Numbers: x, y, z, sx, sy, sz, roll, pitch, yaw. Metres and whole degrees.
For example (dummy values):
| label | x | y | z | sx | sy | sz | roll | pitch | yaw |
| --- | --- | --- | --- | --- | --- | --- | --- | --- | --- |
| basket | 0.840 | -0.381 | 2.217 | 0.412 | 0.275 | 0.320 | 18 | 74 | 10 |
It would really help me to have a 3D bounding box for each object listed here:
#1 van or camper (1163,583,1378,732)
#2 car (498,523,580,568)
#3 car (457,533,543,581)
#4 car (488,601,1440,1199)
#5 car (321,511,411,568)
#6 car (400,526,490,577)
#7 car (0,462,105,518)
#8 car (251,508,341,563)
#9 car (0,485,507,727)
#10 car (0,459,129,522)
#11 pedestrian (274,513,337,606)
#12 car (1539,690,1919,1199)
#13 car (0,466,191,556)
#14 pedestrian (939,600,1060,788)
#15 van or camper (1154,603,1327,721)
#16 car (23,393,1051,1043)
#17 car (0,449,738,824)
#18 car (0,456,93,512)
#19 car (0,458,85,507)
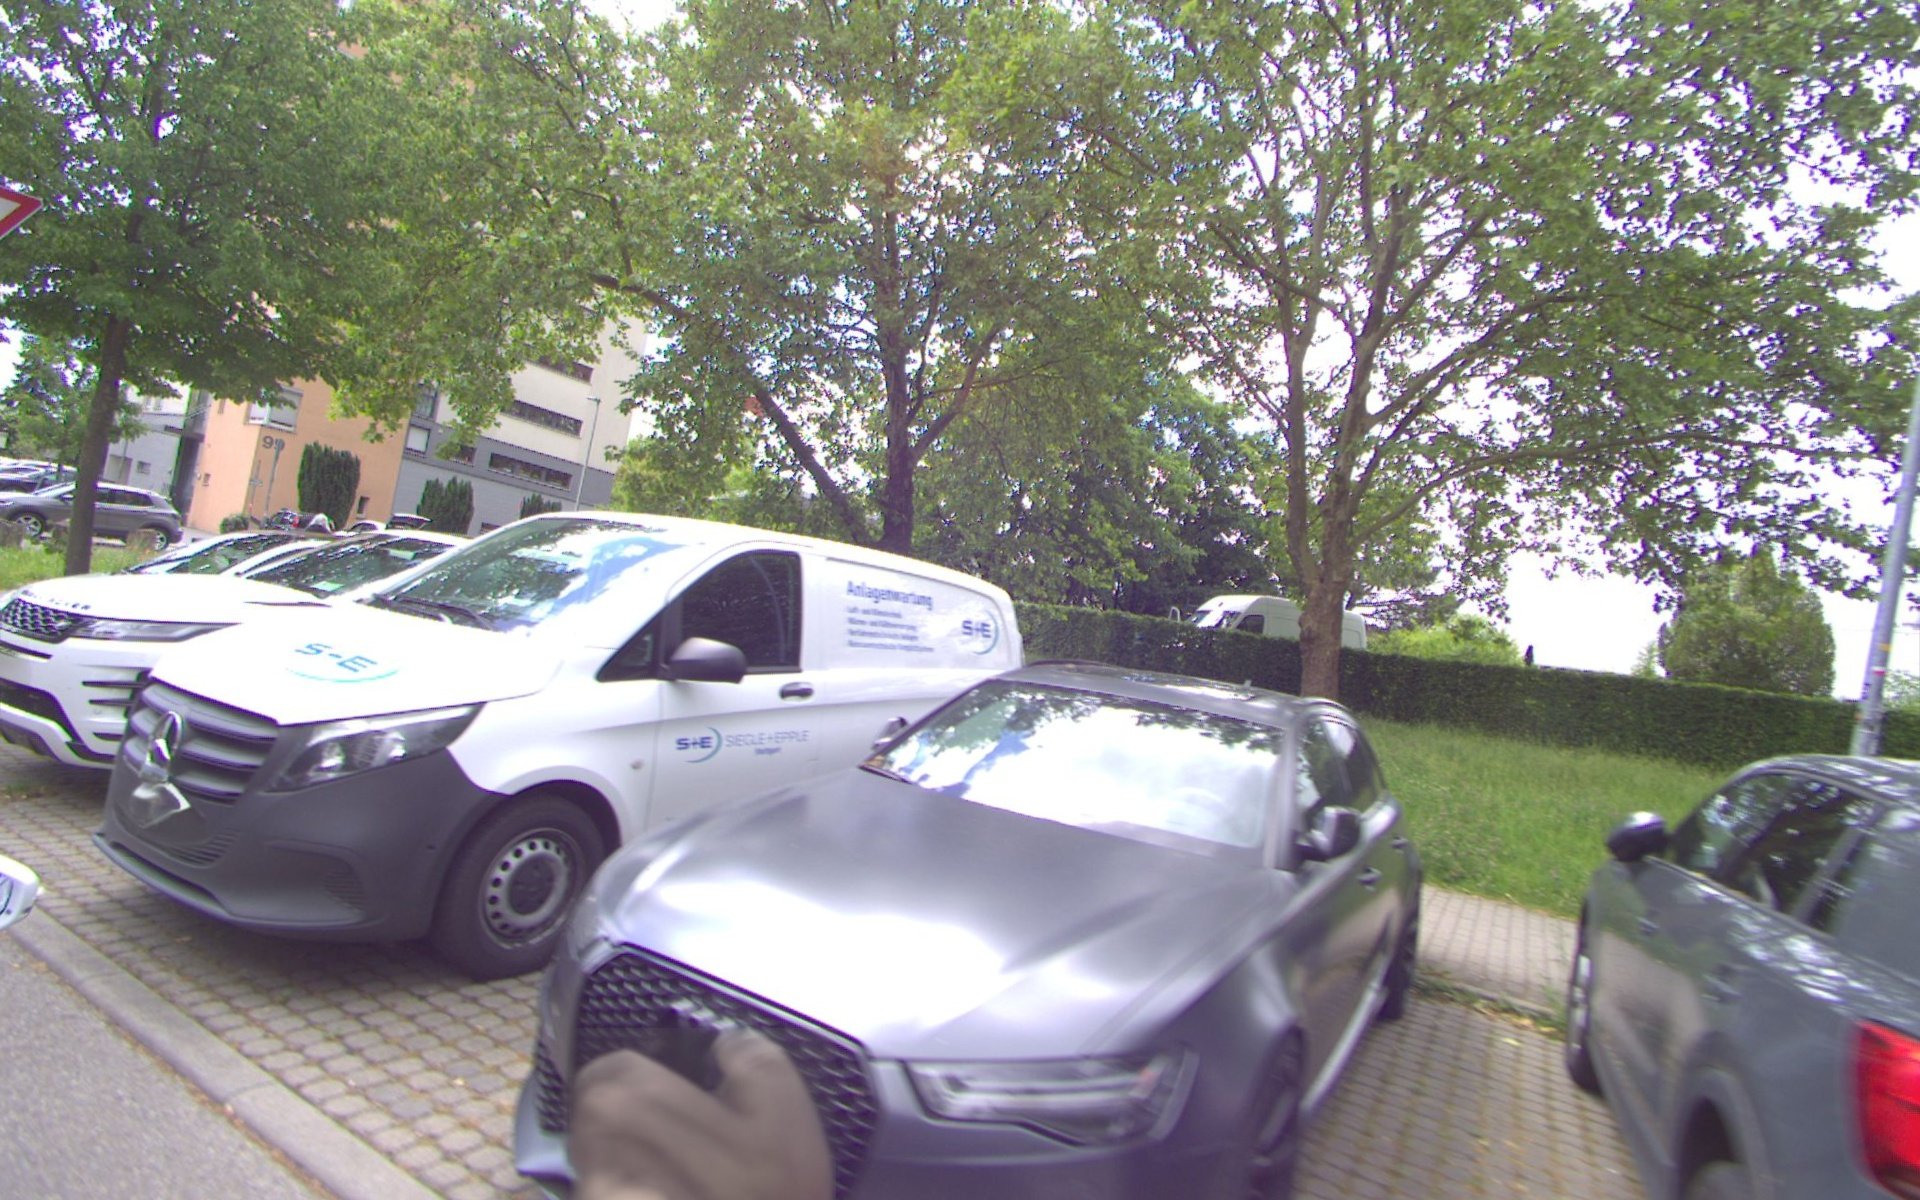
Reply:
| label | x | y | z | sx | sy | sz | roll | pitch | yaw |
| --- | --- | --- | --- | --- | --- | --- | --- | --- | --- |
| van or camper | 7.560 | 1.389 | 24.510 | 4.428 | 2.829 | 2.103 | 11 | -2 | -25 |
| car | -18.512 | -2.416 | 44.181 | 3.721 | 1.500 | 1.636 | 8 | 0 | 39 |
| car | -19.215 | -1.788 | 41.934 | 3.721 | 1.500 | 1.636 | 8 | 0 | 39 |
| car | 0.574 | 0.957 | 3.822 | 1.812 | 1.387 | 3.832 | 8 | -1 | 30 |
| car | -22.382 | -2.281 | 37.838 | 3.721 | 1.679 | 1.567 | 8 | 0 | 39 |
| car | -20.014 | -1.882 | 39.042 | 3.721 | 1.500 | 1.636 | 8 | 0 | 39 |
| car | -35.585 | -4.315 | 38.683 | 1.669 | 1.474 | 3.827 | 8 | -3 | 42 |
| car | -23.269 | -2.276 | 35.224 | 3.474 | 1.493 | 1.500 | 8 | -1 | 39 |
| car | -5.859 | 0.129 | 8.271 | 1.707 | 1.478 | 3.525 | 7 | -2 | 23 |
| car | -33.721 | -4.100 | 37.404 | 1.731 | 1.534 | 4.041 | 8 | -3 | 42 |
| pedestrian | -12.803 | -0.793 | 19.674 | 0.829 | 1.683 | 0.612 | 8 | -2 | 42 |
| car | 2.828 | 1.152 | 2.652 | 1.878 | 1.538 | 3.834 | 8 | -1 | 27 |
| car | -22.519 | -2.279 | 25.794 | 1.694 | 1.637 | 4.002 | 8 | -1 | 33 |
| pedestrian | 0.397 | 0.913 | 9.763 | 0.583 | 1.675 | 0.871 | 8 | -2 | 30 |
| van or camper | 8.616 | 1.892 | 30.953 | 4.424 | 2.829 | 2.105 | 11 | -2 | -22 |
| car | -1.458 | 0.447 | 5.388 | 1.812 | 1.853 | 4.783 | 8 | -1 | 31 |
| car | -3.654 | 0.343 | 6.698 | 1.709 | 1.619 | 4.163 | 8 | -3 | 30 |
| car | -37.564 | -4.773 | 40.133 | 1.667 | 1.611 | 4.125 | 8 | -3 | 37 |
| car | -40.806 | -5.229 | 43.670 | 1.733 | 1.534 | 3.979 | 8 | -3 | 43 |
